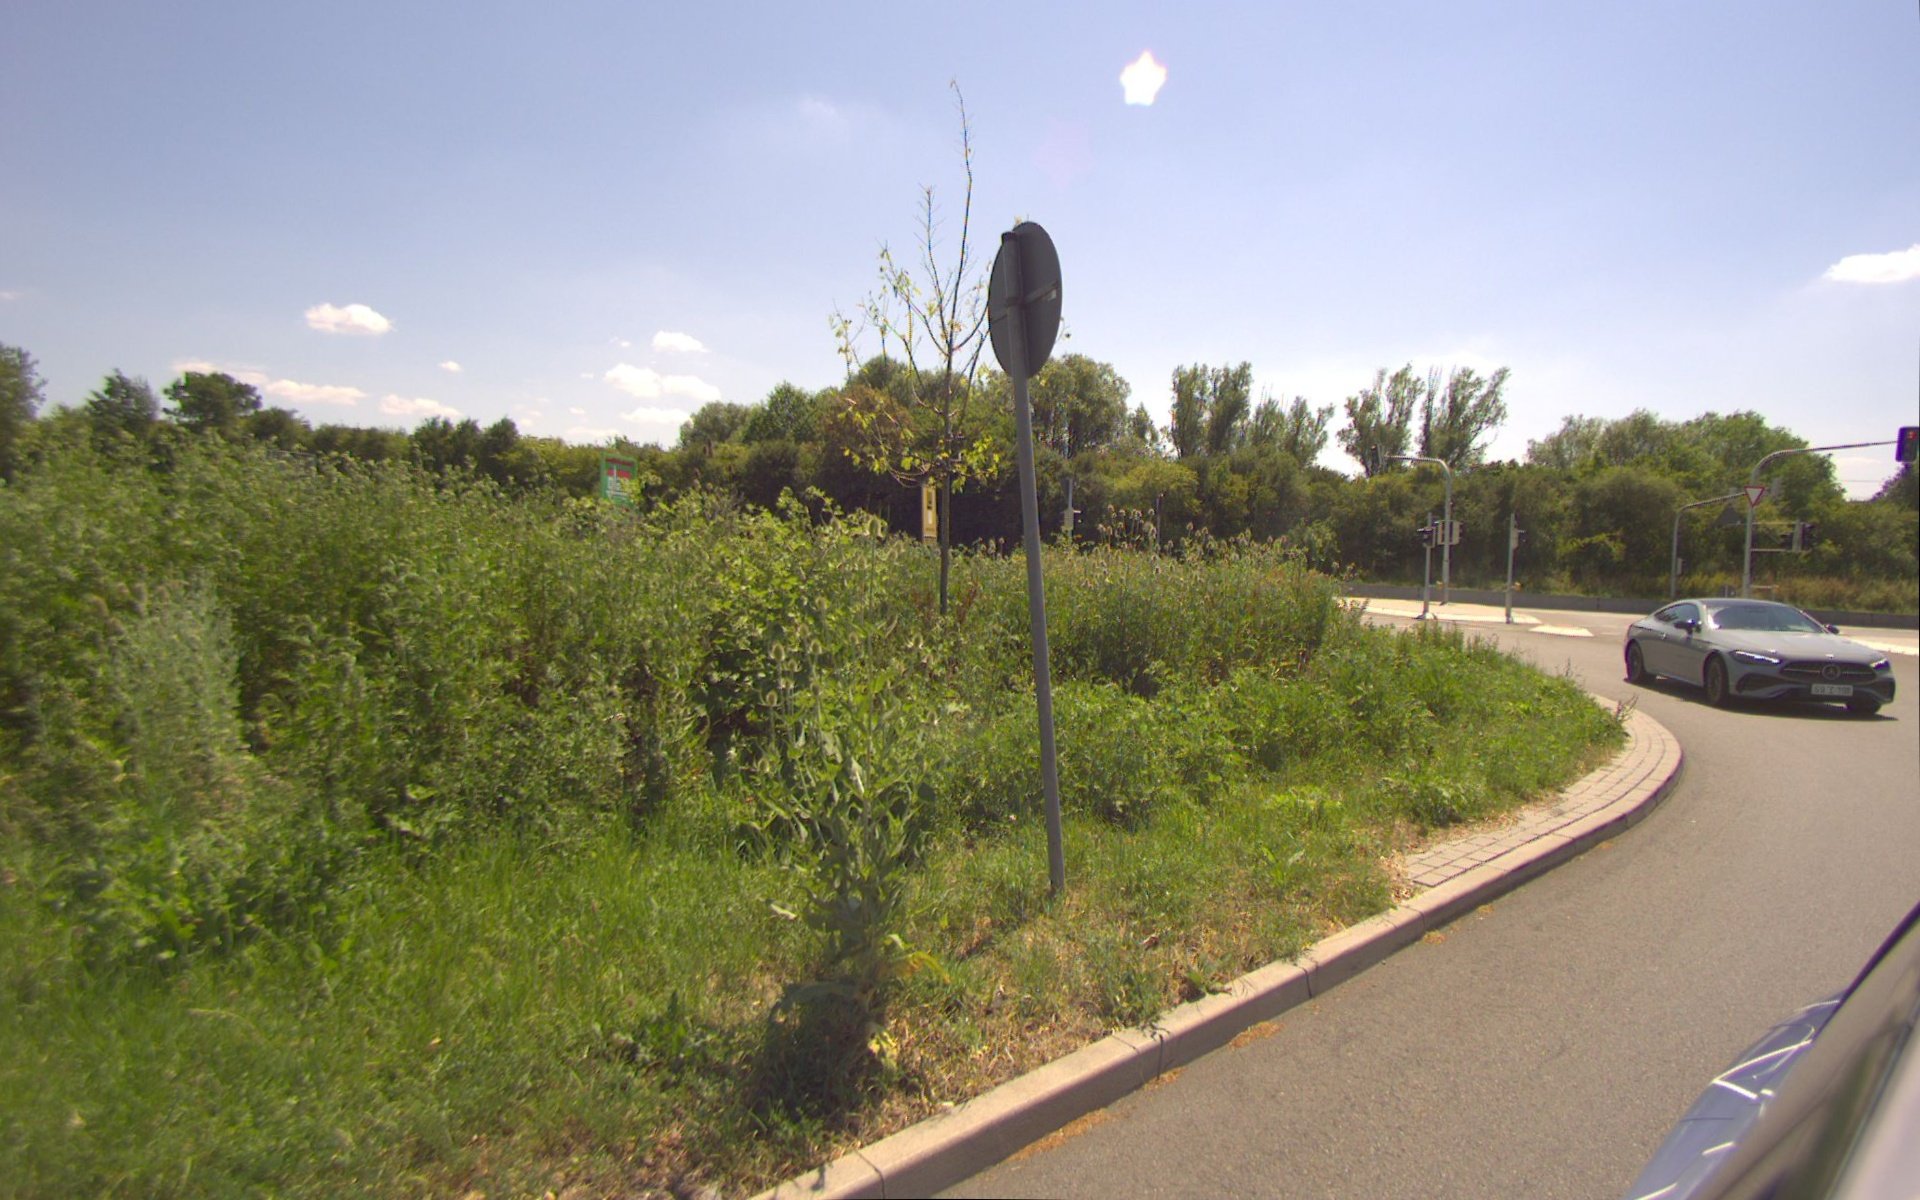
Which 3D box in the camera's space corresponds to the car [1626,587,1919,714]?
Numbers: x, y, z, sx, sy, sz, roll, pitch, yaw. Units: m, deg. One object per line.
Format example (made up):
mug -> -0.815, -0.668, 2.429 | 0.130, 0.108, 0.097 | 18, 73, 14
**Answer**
car -> 11.500, 0.577, 14.673 | 1.897, 1.460, 4.458 | 0, 2, 17
